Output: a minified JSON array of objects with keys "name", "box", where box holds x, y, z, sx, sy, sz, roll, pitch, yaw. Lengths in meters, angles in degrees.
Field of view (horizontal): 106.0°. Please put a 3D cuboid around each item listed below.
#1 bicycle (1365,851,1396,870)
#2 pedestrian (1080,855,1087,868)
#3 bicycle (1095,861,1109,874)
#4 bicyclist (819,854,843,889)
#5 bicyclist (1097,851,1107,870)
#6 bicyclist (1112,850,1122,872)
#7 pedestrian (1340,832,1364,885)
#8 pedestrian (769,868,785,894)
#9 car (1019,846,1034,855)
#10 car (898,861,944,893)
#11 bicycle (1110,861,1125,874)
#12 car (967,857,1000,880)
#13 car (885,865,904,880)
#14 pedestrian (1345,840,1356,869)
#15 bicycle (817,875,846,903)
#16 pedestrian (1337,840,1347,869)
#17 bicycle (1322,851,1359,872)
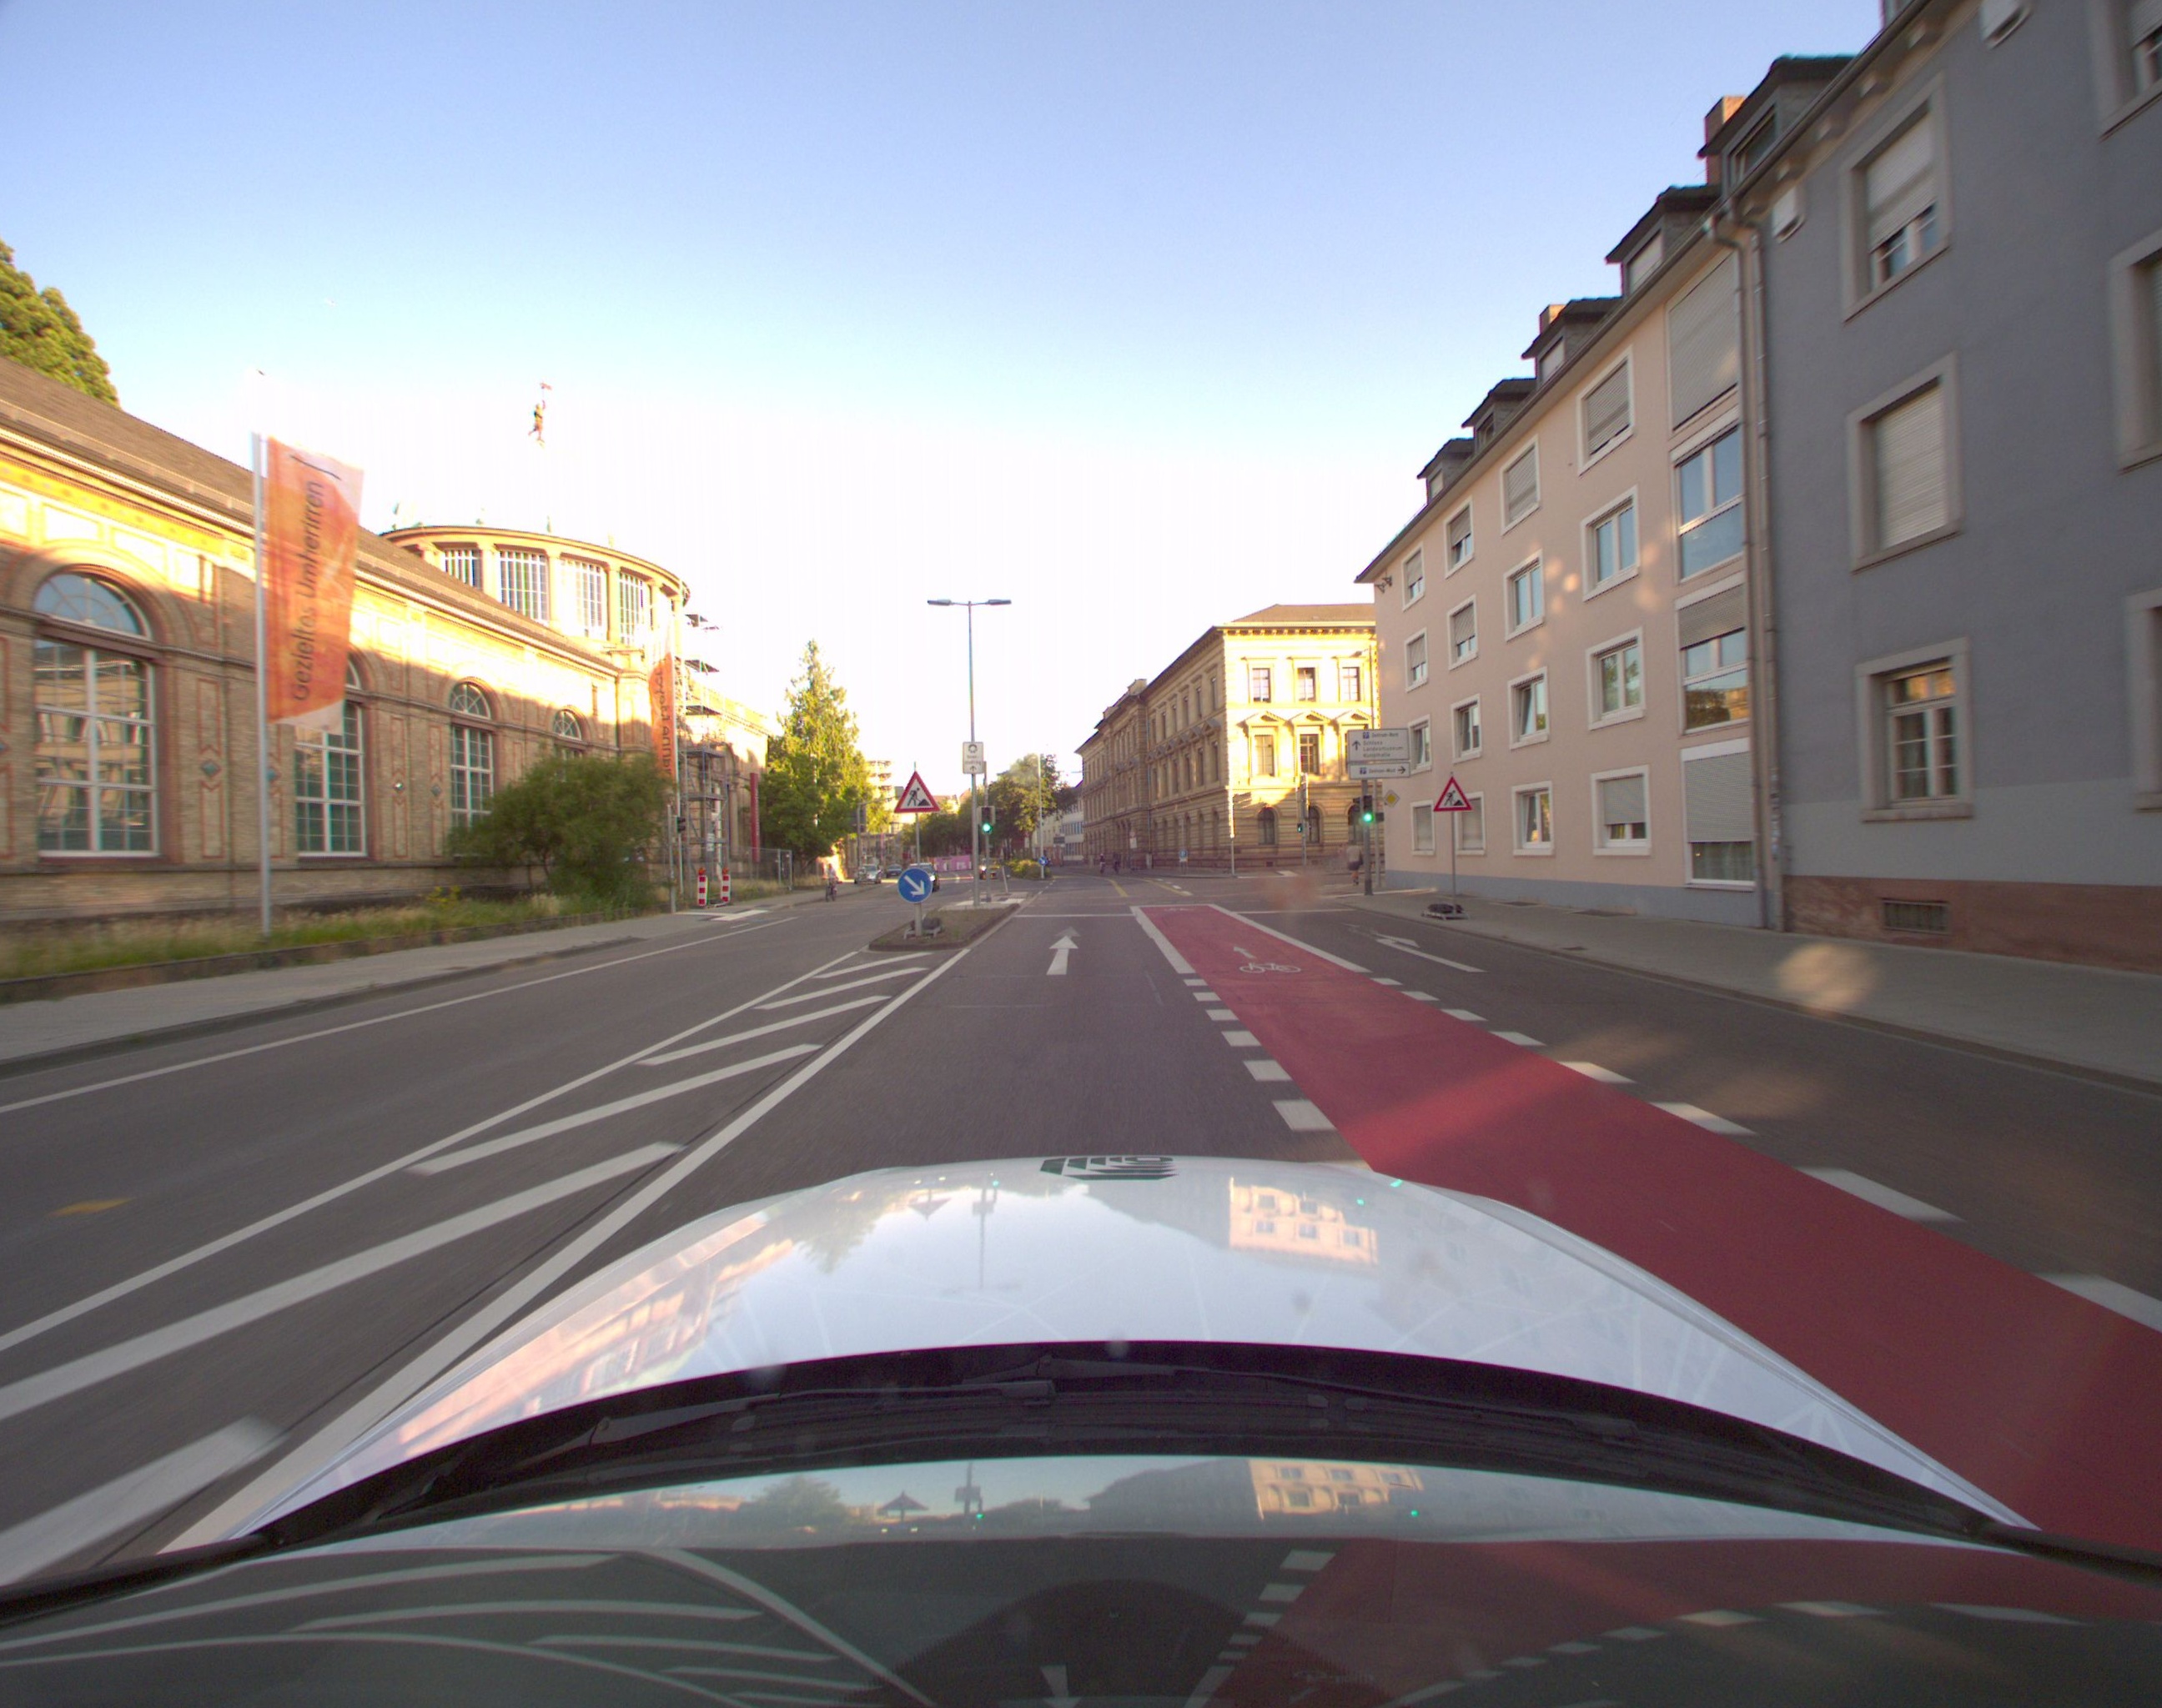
[{"name":"bicycle","box":[18.765,0.402,51.027,1.718,1.144,0.696,-2,2,-2]},{"name":"pedestrian","box":[0.358,1.079,118.914,0.815,1.765,1.036,-1,0,-4]},{"name":"bicycle","box":[1.696,1.081,65.952,0.671,1.071,1.891,0,-1,-15]},{"name":"bicyclist","box":[-10.894,0.771,35.453,0.746,1.460,0.935,-3,0,-6]},{"name":"bicyclist","box":[1.716,0.543,65.890,0.670,1.566,0.695,1,-1,-15]},{"name":"bicyclist","box":[2.945,0.593,66.367,0.650,1.760,0.860,0,-1,-13]},{"name":"pedestrian","box":[10.535,0.155,31.659,0.779,2.013,0.998,-2,0,15]},{"name":"pedestrian","box":[-18.953,1.649,50.836,0.734,1.579,0.761,-2,0,-6]},{"name":"car","box":[-10.381,-0.685,155.296,1.819,1.560,3.838,-1,-1,-20]},{"name":"car","box":[-8.327,1.177,42.652,1.820,1.508,4.419,-2,0,-5]},{"name":"bicycle","box":[2.967,1.083,66.272,0.653,1.071,2.248,0,-1,-13]},{"name":"car","box":[-7.253,1.069,60.982,1.839,1.547,4.118,-2,0,0]},{"name":"car","box":[-19.518,1.928,85.395,1.680,1.351,3.872,-3,0,-11]},{"name":"pedestrian","box":[17.709,0.009,53.474,0.529,1.858,0.626,-2,-1,25]},{"name":"bicycle","box":[-10.851,1.505,35.445,0.752,1.090,1.929,-4,0,-6]},{"name":"pedestrian","box":[17.259,0.026,53.839,0.452,1.858,0.422,-2,-1,-41]},{"name":"bicycle","box":[16.221,0.470,50.903,2.044,1.207,0.861,-2,2,-2]}]
